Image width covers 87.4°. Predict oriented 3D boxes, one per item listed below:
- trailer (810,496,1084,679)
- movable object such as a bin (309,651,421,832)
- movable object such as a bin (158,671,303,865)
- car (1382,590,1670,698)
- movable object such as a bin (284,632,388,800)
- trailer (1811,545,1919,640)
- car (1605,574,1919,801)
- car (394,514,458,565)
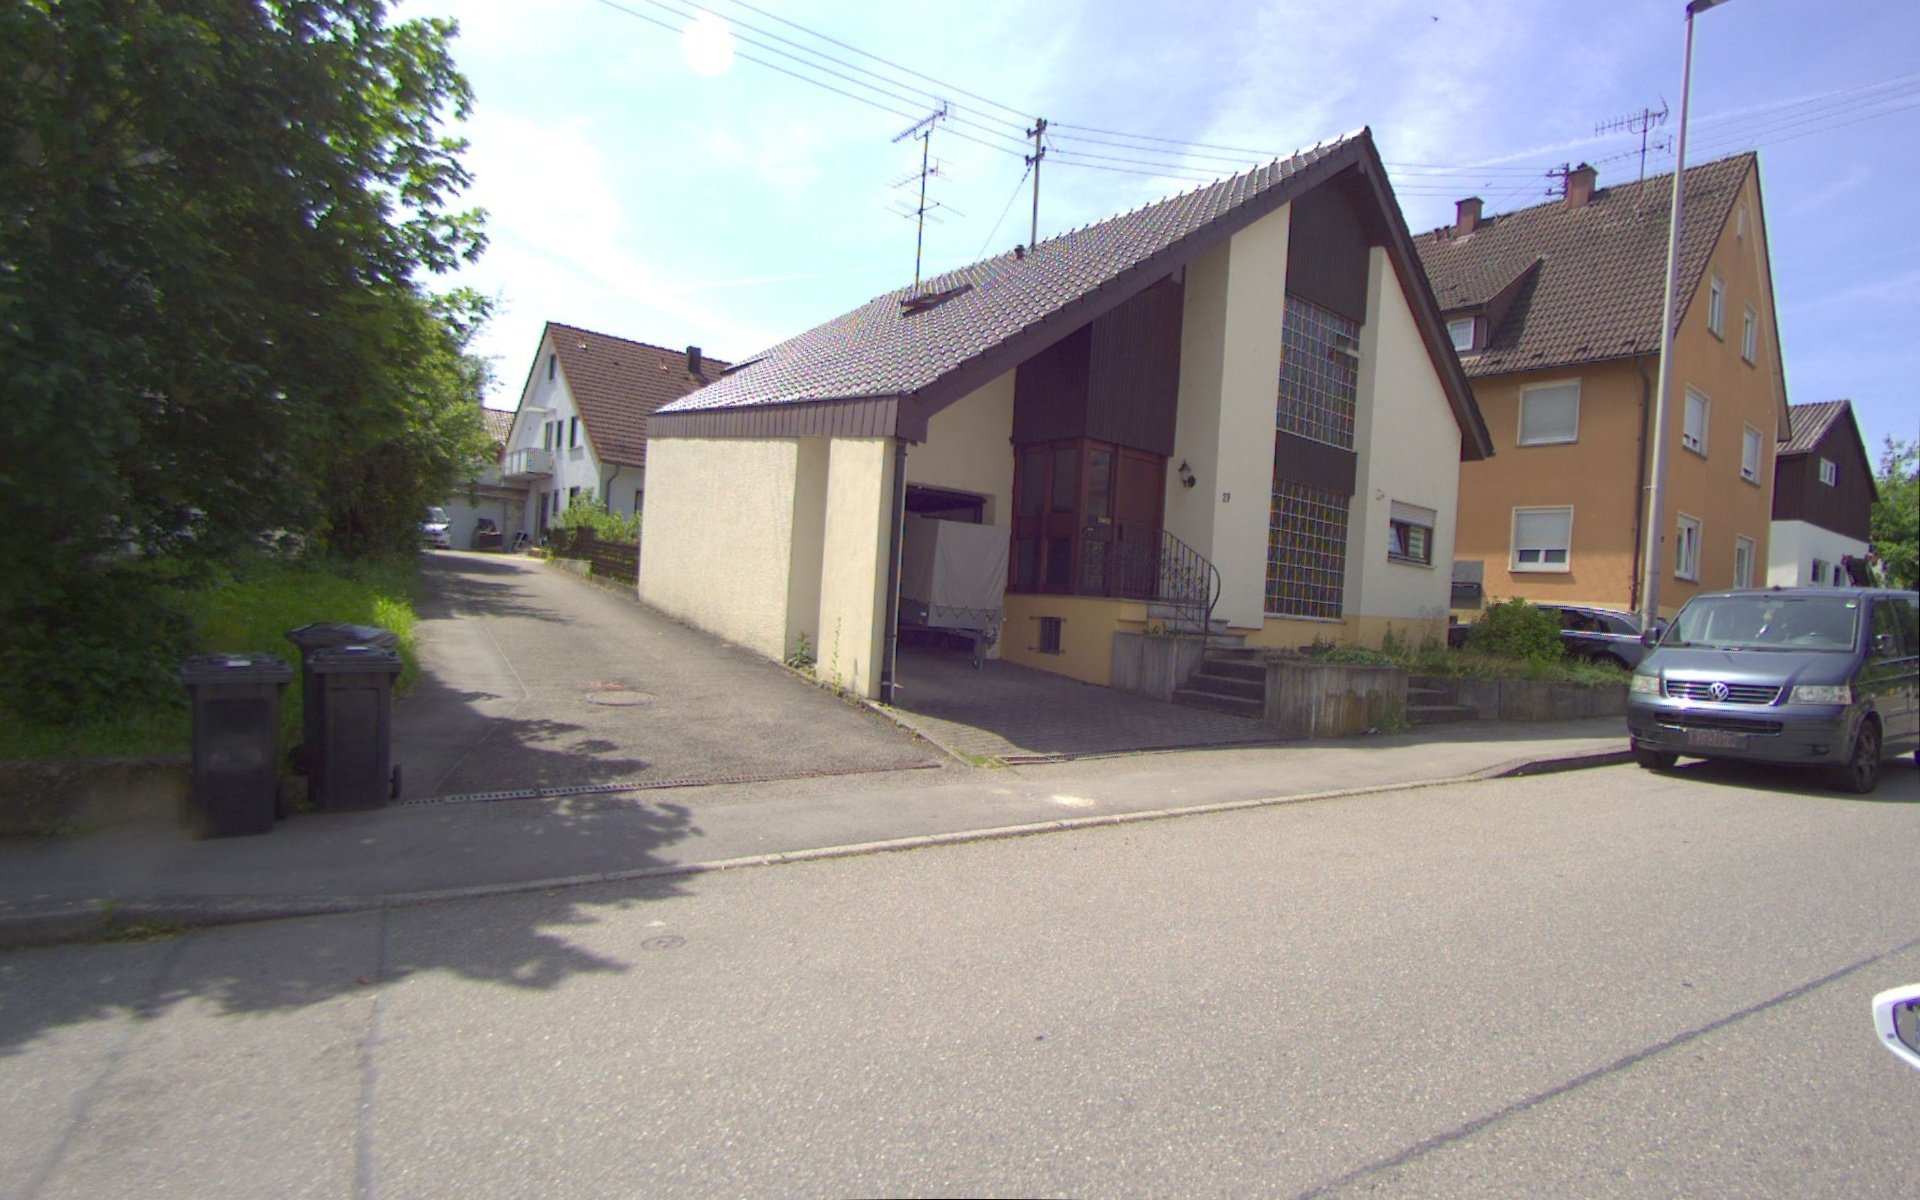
[{"bbox_3d":[-0.334,-0.275,14.182,1.980,2.040,3.806,2,6,-34],"label":"trailer"},{"bbox_3d":[-3.535,0.812,5.959,0.522,0.951,0.470,2,6,-34],"label":"movable object such as a bin"},{"bbox_3d":[-3.868,0.861,5.350,0.580,0.914,0.497,2,1,-36],"label":"movable object such as a bin"},{"bbox_3d":[10.273,0.718,18.519,1.805,1.424,4.195,1,4,-38],"label":"car"},{"bbox_3d":[-4.048,0.729,6.507,0.519,0.961,0.497,2,7,-35],"label":"movable object such as a bin"},{"bbox_3d":[29.990,-0.165,33.070,6.118,2.886,1.699,2,1,-38],"label":"trailer"},{"bbox_3d":[9.145,0.836,10.872,4.935,1.963,1.879,2,-1,-34],"label":"car"},{"bbox_3d":[-19.944,-2.215,37.428,1.788,1.684,3.578,2,1,-33],"label":"car"}]
